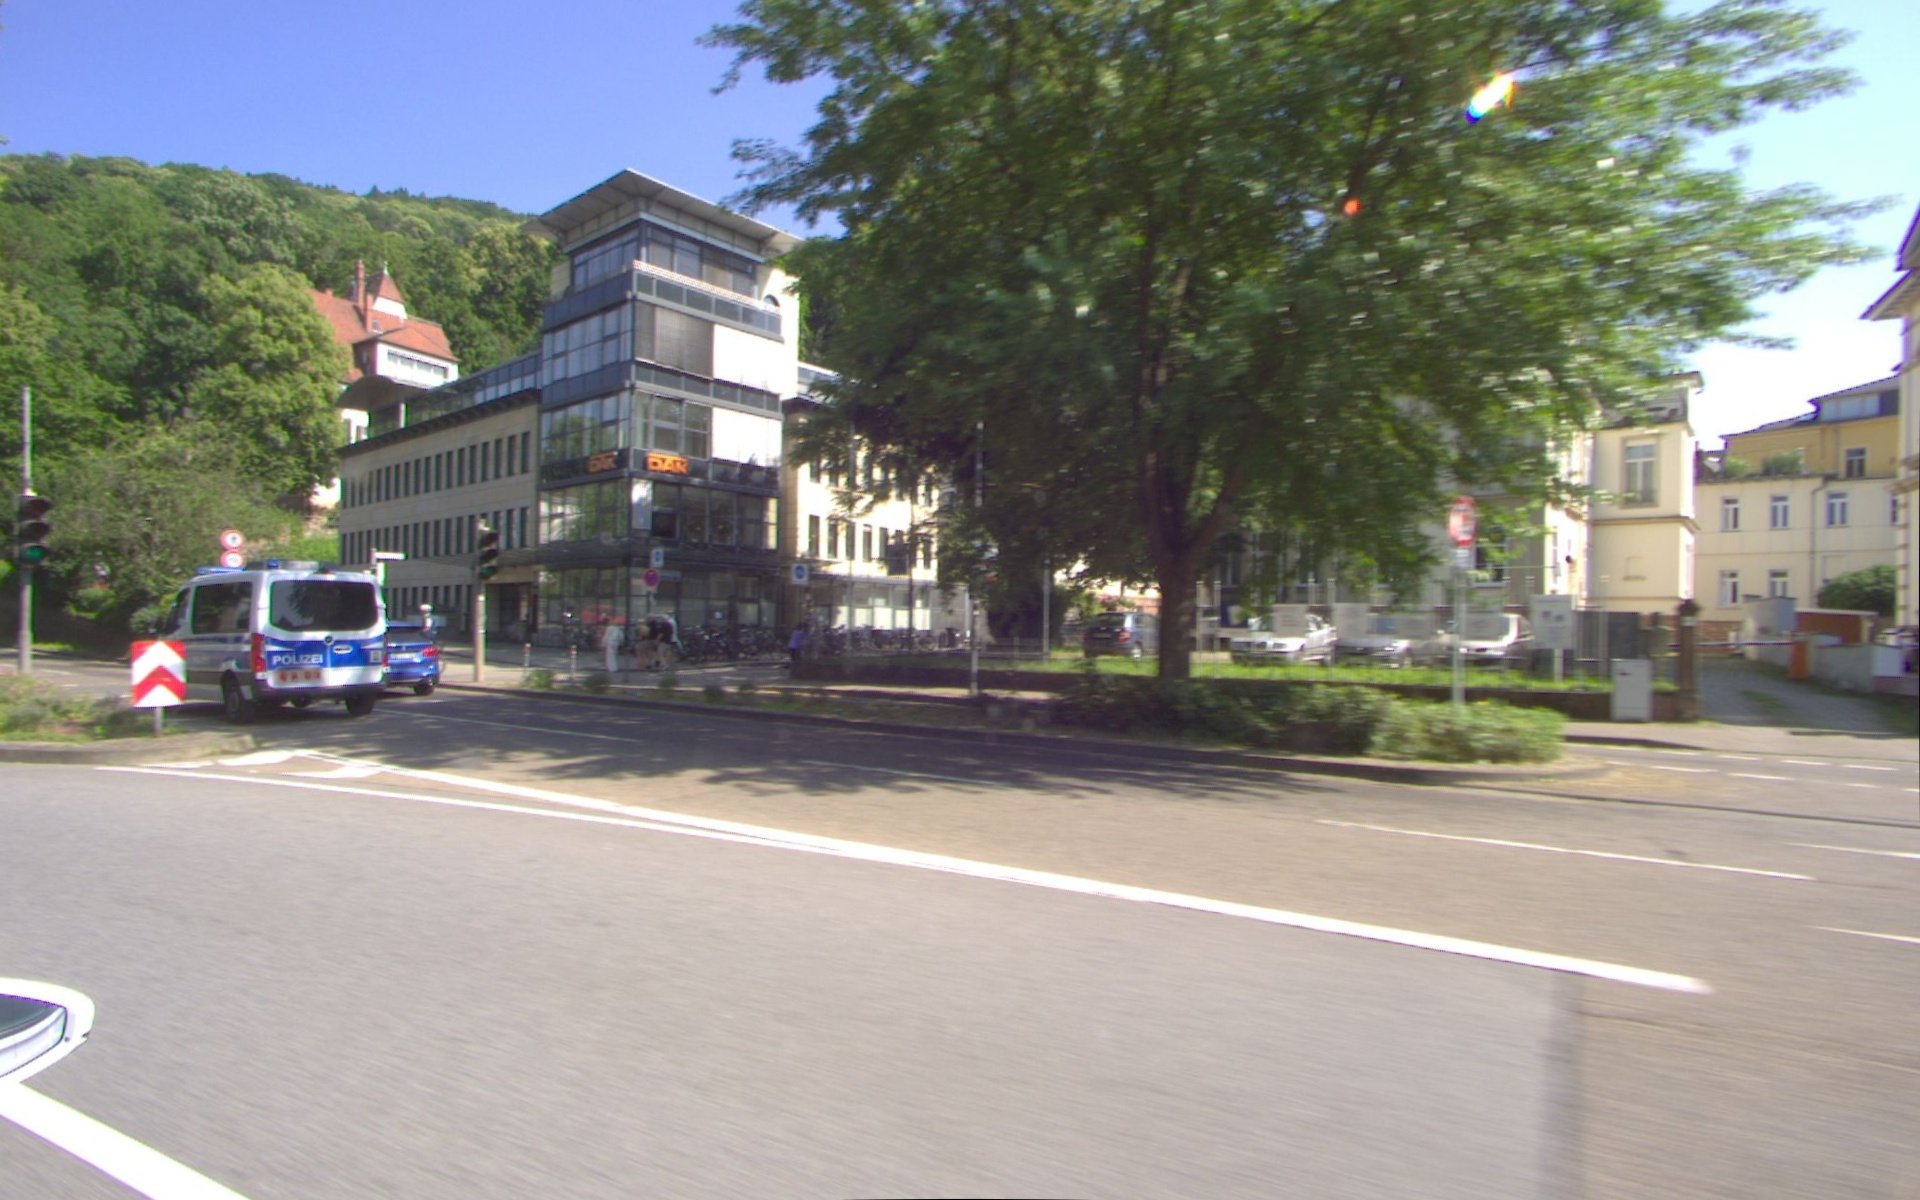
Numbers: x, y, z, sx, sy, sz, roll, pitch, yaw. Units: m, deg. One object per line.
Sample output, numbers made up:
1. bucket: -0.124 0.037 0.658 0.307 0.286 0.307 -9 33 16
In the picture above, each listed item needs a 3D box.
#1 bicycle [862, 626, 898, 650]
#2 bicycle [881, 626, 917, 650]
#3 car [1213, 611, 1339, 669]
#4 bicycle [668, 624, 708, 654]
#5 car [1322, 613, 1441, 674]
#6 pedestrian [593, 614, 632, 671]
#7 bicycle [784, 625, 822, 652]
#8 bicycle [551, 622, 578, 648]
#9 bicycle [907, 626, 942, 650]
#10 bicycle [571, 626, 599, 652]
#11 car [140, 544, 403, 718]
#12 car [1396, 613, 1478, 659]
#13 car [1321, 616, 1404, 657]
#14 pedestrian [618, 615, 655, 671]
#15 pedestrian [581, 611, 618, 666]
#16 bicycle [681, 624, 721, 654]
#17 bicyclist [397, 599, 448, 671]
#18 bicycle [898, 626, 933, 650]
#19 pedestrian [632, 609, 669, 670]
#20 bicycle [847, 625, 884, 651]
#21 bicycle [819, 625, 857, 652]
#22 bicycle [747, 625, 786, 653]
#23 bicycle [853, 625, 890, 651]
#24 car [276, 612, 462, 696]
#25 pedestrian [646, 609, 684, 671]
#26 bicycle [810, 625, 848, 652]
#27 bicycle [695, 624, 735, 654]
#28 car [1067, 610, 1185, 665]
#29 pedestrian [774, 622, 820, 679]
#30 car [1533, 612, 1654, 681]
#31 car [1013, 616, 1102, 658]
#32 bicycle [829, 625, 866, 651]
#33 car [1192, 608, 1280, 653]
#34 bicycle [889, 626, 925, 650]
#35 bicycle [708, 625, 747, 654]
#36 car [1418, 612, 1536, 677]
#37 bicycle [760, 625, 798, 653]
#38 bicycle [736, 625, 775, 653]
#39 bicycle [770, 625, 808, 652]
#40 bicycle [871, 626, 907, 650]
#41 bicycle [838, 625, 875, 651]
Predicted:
1. bicycle: -3.680 1.731 45.860 1.813 1.099 0.535 0 -1 41
2. bicycle: -2.876 1.761 46.798 1.813 1.099 0.535 0 -1 41
3. car: 8.259 1.012 25.923 1.798 1.353 4.453 0 -2 36
4. bicycle: -10.306 1.477 37.857 1.813 1.099 0.535 0 -1 41
5. car: 10.388 1.033 24.536 1.798 1.353 4.073 0 -2 36
6. pedestrian: -10.629 1.295 30.628 0.819 1.684 0.768 0 -1 40
7. bicycle: -6.586 1.607 41.889 1.813 1.099 0.535 0 -1 41
8. bicycle: -15.733 1.379 39.805 1.325 1.026 0.403 0 0 40
9. bicycle: -1.713 1.803 48.105 1.813 1.099 0.535 0 -1 41
10. bicycle: -14.570 1.510 38.868 1.325 0.953 0.403 0 0 40
11. car: -11.680 0.523 16.891 4.863 2.540 2.068 -1 -2 35
12. car: 16.228 1.201 33.959 1.798 1.437 4.037 0 -2 36
13. car: 14.397 1.285 35.727 1.798 1.353 4.064 0 -2 36
14. pedestrian: -9.927 1.329 30.737 0.821 1.684 0.767 0 -1 44
15. pedestrian: -11.357 1.214 31.506 0.820 1.684 0.767 0 -1 42
16. bicycle: -9.912 1.490 38.253 1.813 1.099 0.535 0 -1 41
17. bicyclist: -14.934 0.977 27.835 1.117 1.957 0.742 2 -2 -39
18. bicycle: -2.127 1.789 47.671 1.813 1.099 0.535 0 -1 41
19. pedestrian: -9.749 1.244 31.527 0.820 1.878 0.767 0 -1 42
20. bicycle: -4.243 1.698 44.777 1.813 1.099 0.535 0 -1 41
21. bicycle: -5.275 1.652 43.288 1.813 1.099 0.535 0 -1 41
22. bicycle: -7.840 1.565 40.588 1.813 1.099 0.535 0 -1 41
23. bicycle: -4.013 1.716 45.359 1.813 1.099 0.535 0 -1 41
24. car: -12.527 1.101 21.146 4.212 1.560 1.716 0 -2 34
25. pedestrian: -9.129 1.241 30.967 0.820 1.878 0.767 0 -1 41
26. bicycle: -5.607 1.636 42.780 1.813 1.099 0.535 0 -1 41
27. bicycle: -9.492 1.505 38.737 1.813 1.099 0.535 0 -1 41
28. car: 4.930 1.072 29.311 1.852 1.495 4.134 0 -2 34
29. pedestrian: -4.727 1.449 29.033 1.110 1.601 0.735 1 -1 -38
30. car: 13.911 0.974 21.884 1.965 1.353 4.028 0 -2 36
31. car: 4.200 1.537 42.591 1.811 1.668 4.103 0 -1 39
32. bicycle: -4.924 1.667 43.765 1.813 1.099 0.535 0 -1 41
33. car: 10.467 1.144 37.755 1.798 1.624 4.295 0 -2 36
34. bicycle: -2.503 1.775 47.245 1.813 1.099 0.535 0 -1 41
35. bicycle: -9.115 1.520 39.195 1.813 1.099 0.535 0 -1 41
36. car: 12.037 1.001 23.190 1.836 1.353 4.028 0 -2 36
37. bicycle: -7.438 1.581 41.093 1.813 1.099 0.535 0 -1 41
38. bicycle: -8.208 1.550 40.119 1.813 1.099 0.535 0 -1 41
39. bicycle: -7.102 1.595 41.567 1.813 1.099 0.535 0 -1 41
40. bicycle: -3.277 1.746 46.326 1.813 1.099 0.535 0 -1 41
41. bicycle: -4.578 1.682 44.257 1.813 1.099 0.535 0 -1 41
